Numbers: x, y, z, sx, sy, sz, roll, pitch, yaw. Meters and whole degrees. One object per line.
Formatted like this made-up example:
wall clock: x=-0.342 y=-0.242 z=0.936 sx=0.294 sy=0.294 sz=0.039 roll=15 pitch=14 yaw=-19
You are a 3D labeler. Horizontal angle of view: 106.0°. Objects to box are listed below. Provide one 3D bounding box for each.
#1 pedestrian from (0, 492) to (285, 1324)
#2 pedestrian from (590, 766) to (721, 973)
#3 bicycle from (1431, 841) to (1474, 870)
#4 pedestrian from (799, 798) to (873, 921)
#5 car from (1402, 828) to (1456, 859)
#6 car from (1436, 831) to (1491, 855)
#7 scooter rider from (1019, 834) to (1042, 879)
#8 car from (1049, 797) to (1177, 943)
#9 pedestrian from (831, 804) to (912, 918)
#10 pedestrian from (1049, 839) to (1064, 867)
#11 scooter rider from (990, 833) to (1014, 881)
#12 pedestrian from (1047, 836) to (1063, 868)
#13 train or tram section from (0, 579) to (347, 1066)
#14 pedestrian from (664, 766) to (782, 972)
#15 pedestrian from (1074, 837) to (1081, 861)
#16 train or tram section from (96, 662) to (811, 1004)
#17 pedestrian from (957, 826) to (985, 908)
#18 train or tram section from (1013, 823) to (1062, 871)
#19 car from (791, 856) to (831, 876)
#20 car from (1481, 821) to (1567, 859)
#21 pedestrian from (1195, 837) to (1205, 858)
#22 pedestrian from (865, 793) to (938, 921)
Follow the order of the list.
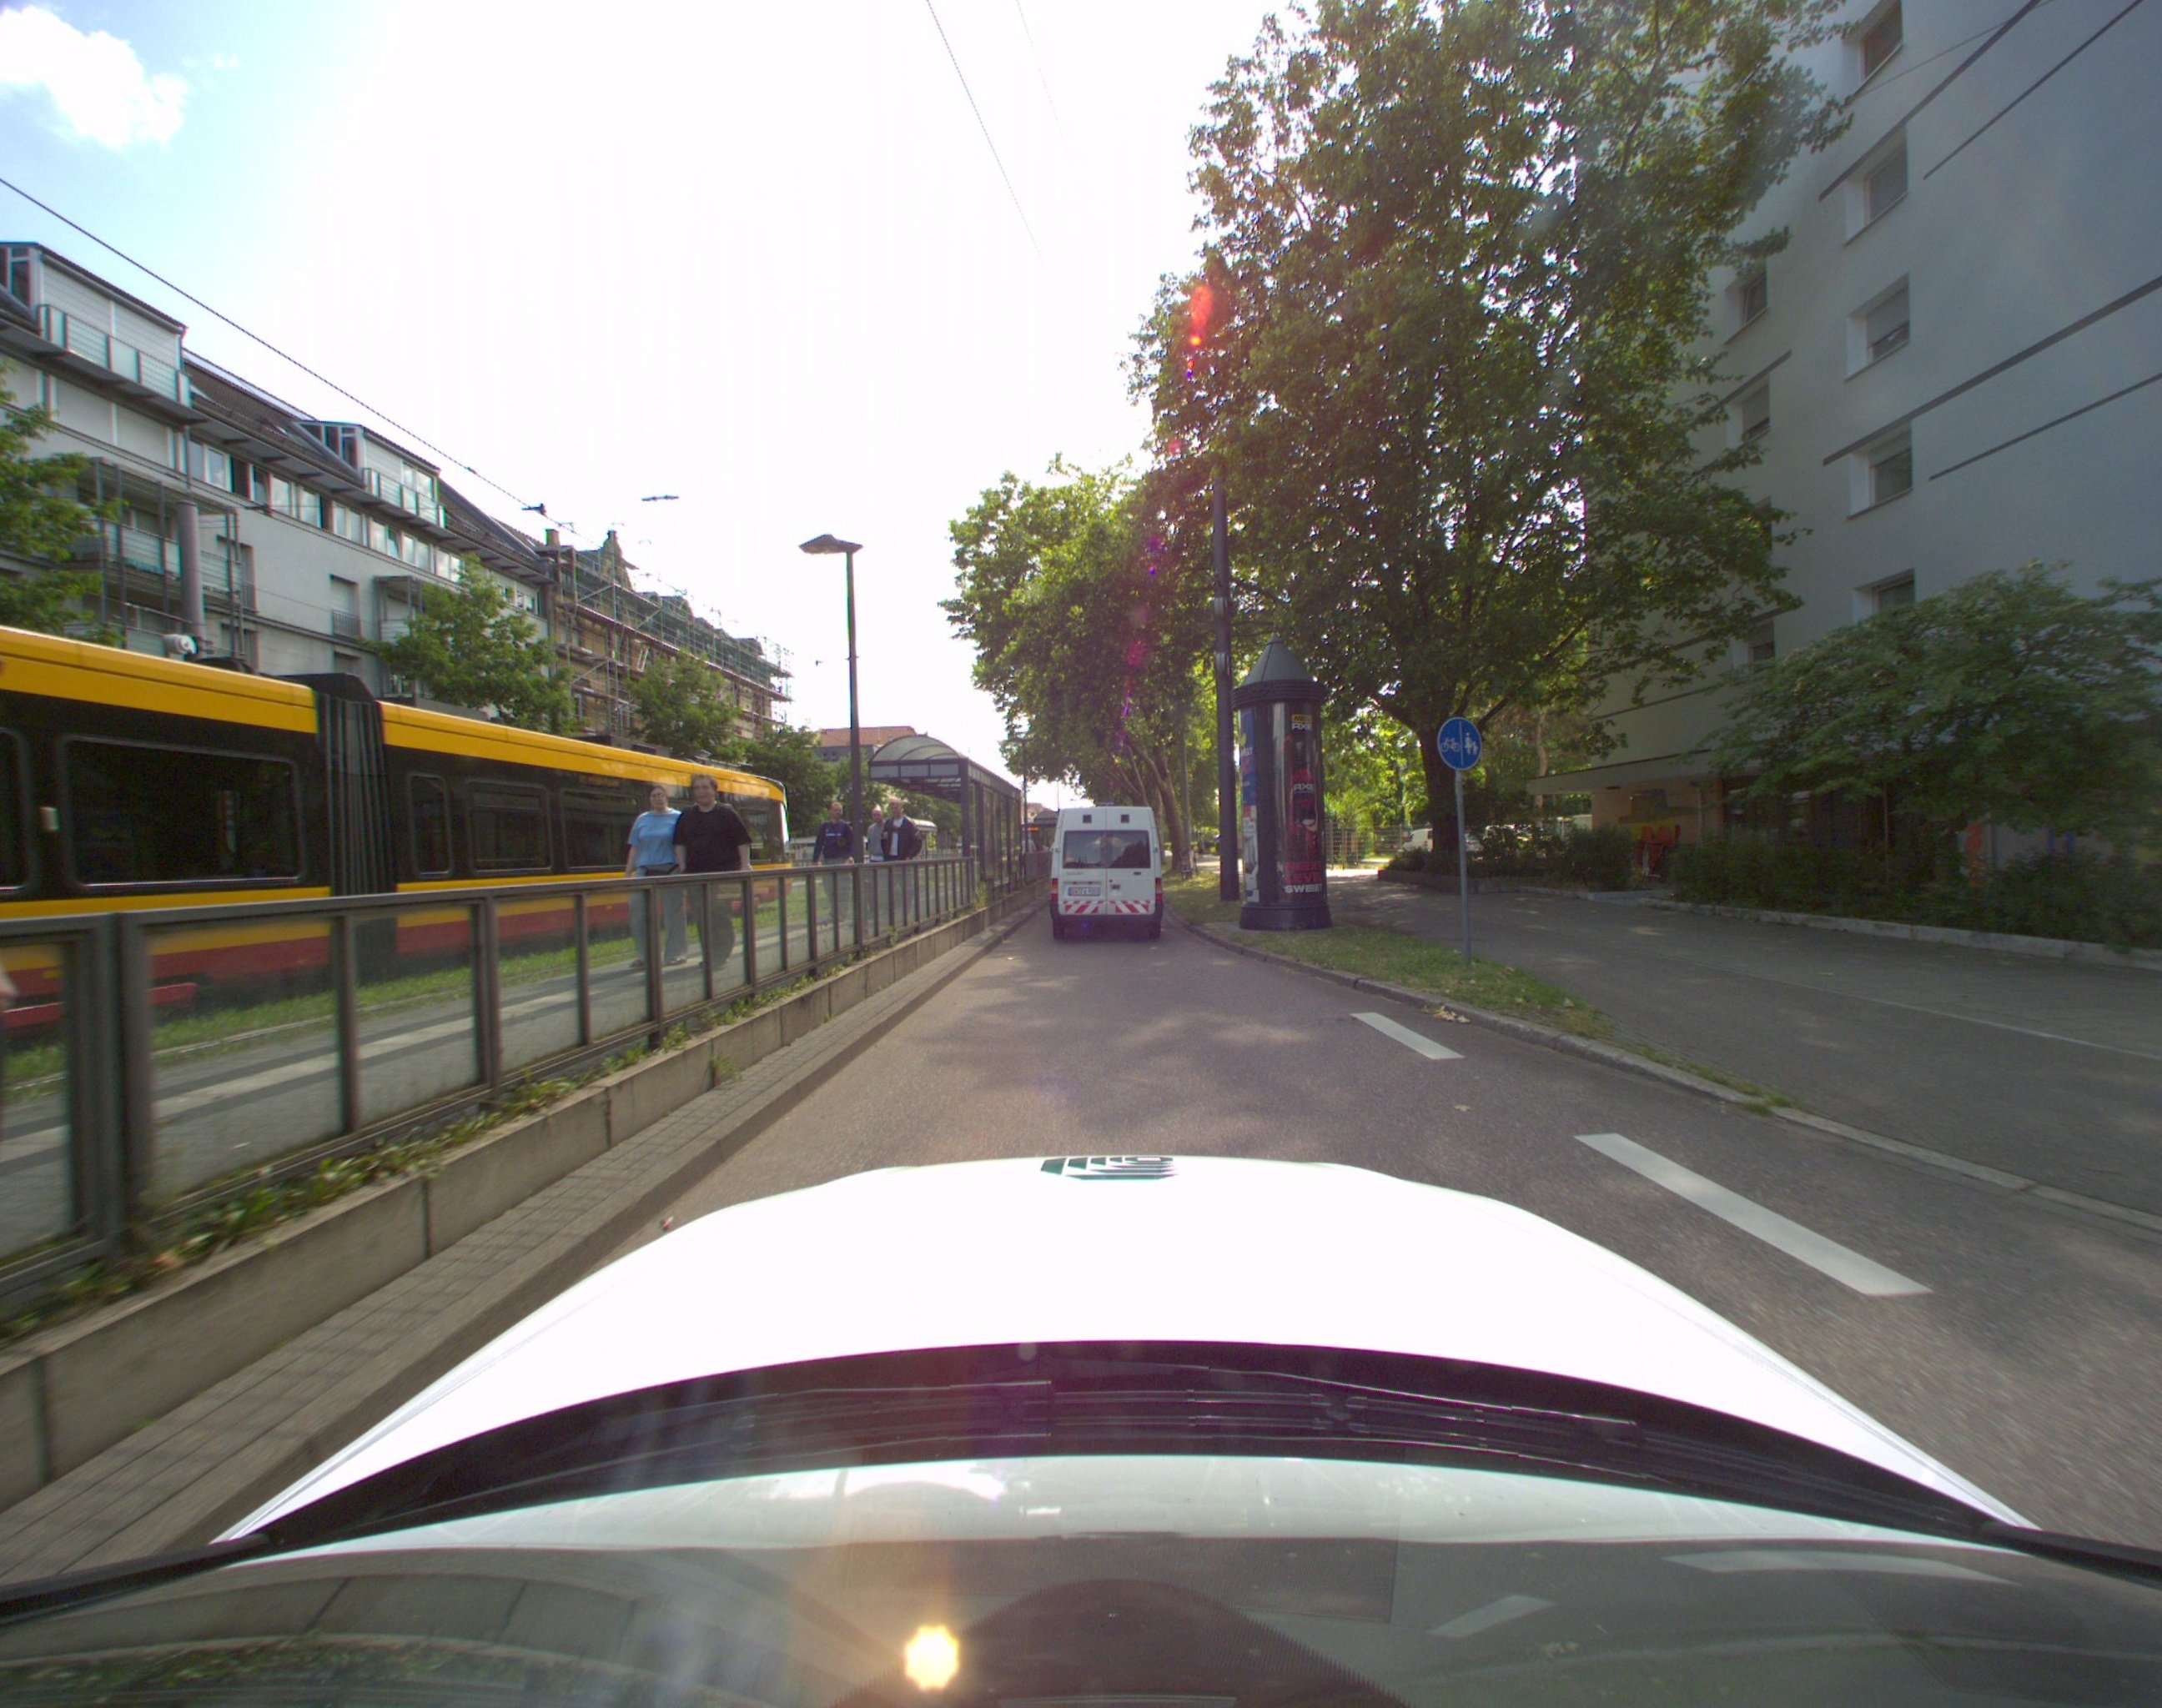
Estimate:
pedestrian: x=-2.873 y=0.124 z=2.058 sx=0.823 sy=1.899 sz=0.847 roll=-2 pitch=0 yaw=2
pedestrian: x=-4.047 y=0.140 z=7.810 sx=0.698 sy=1.849 sz=0.908 roll=-2 pitch=0 yaw=1
bicycle: x=14.280 y=0.037 z=31.350 sx=0.605 sy=1.073 sz=1.835 roll=-2 pitch=1 yaw=-6
pedestrian: x=-3.777 y=0.082 z=12.654 sx=0.709 sy=1.800 sz=1.133 roll=-2 pitch=0 yaw=2
car: x=22.296 y=-0.680 z=52.344 sx=1.799 sy=1.814 sz=4.344 roll=-2 pitch=0 yaw=4
car: x=24.767 y=-0.700 z=52.876 sx=1.800 sy=1.402 sz=4.050 roll=-2 pitch=0 yaw=2
scooter rider: x=-1.788 y=0.080 z=28.903 sx=0.652 sy=1.570 sz=0.901 roll=-2 pitch=0 yaw=2
car: x=0.611 y=0.234 z=15.801 sx=2.039 sy=2.333 sz=4.717 roll=-2 pitch=1 yaw=2
pedestrian: x=-3.513 y=0.101 z=13.816 sx=0.883 sy=1.800 sz=1.495 roll=-2 pitch=0 yaw=2
pedestrian: x=-1.247 y=-0.065 z=41.461 sx=0.673 sy=1.403 sz=0.596 roll=-2 pitch=0 yaw=1
scooter rider: x=-2.699 y=0.105 z=27.970 sx=0.652 sy=1.614 sz=0.901 roll=-2 pitch=0 yaw=2
pedestrian: x=-1.285 y=-0.105 z=40.439 sx=0.673 sy=1.515 sz=0.596 roll=-2 pitch=0 yaw=1
train or tram section: x=-9.456 y=-0.178 z=3.471 sx=2.785 sy=3.584 sz=10.411 roll=-2 pitch=0 yaw=2
pedestrian: x=-3.392 y=0.136 z=7.786 sx=0.698 sy=1.849 sz=0.789 roll=-2 pitch=0 yaw=1
pedestrian: x=-0.240 y=-0.346 z=55.406 sx=0.384 sy=1.591 sz=0.439 roll=-2 pitch=0 yaw=1
train or tram section: x=-8.883 y=-0.279 z=15.214 sx=2.713 sy=3.584 sz=13.025 roll=-2 pitch=0 yaw=2
pedestrian: x=-2.605 y=0.306 z=19.304 sx=0.472 sy=1.900 sz=0.533 roll=-2 pitch=0 yaw=-22
train or tram section: x=-3.461 y=-0.609 z=67.862 sx=2.713 sy=3.584 sz=13.025 roll=-2 pitch=0 yaw=2
car: x=-20.673 y=0.908 z=62.481 sx=1.712 sy=1.371 sz=3.707 roll=-2 pitch=1 yaw=2
car: x=22.074 y=-0.683 z=40.827 sx=1.731 sy=1.755 sz=4.772 roll=-2 pitch=0 yaw=1
pedestrian: x=9.791 y=-0.538 z=66.800 sx=0.691 sy=1.625 sz=0.637 roll=-2 pitch=0 yaw=1
pedestrian: x=-2.754 y=0.039 z=12.587 sx=0.807 sy=1.872 sz=1.031 roll=-2 pitch=0 yaw=2
